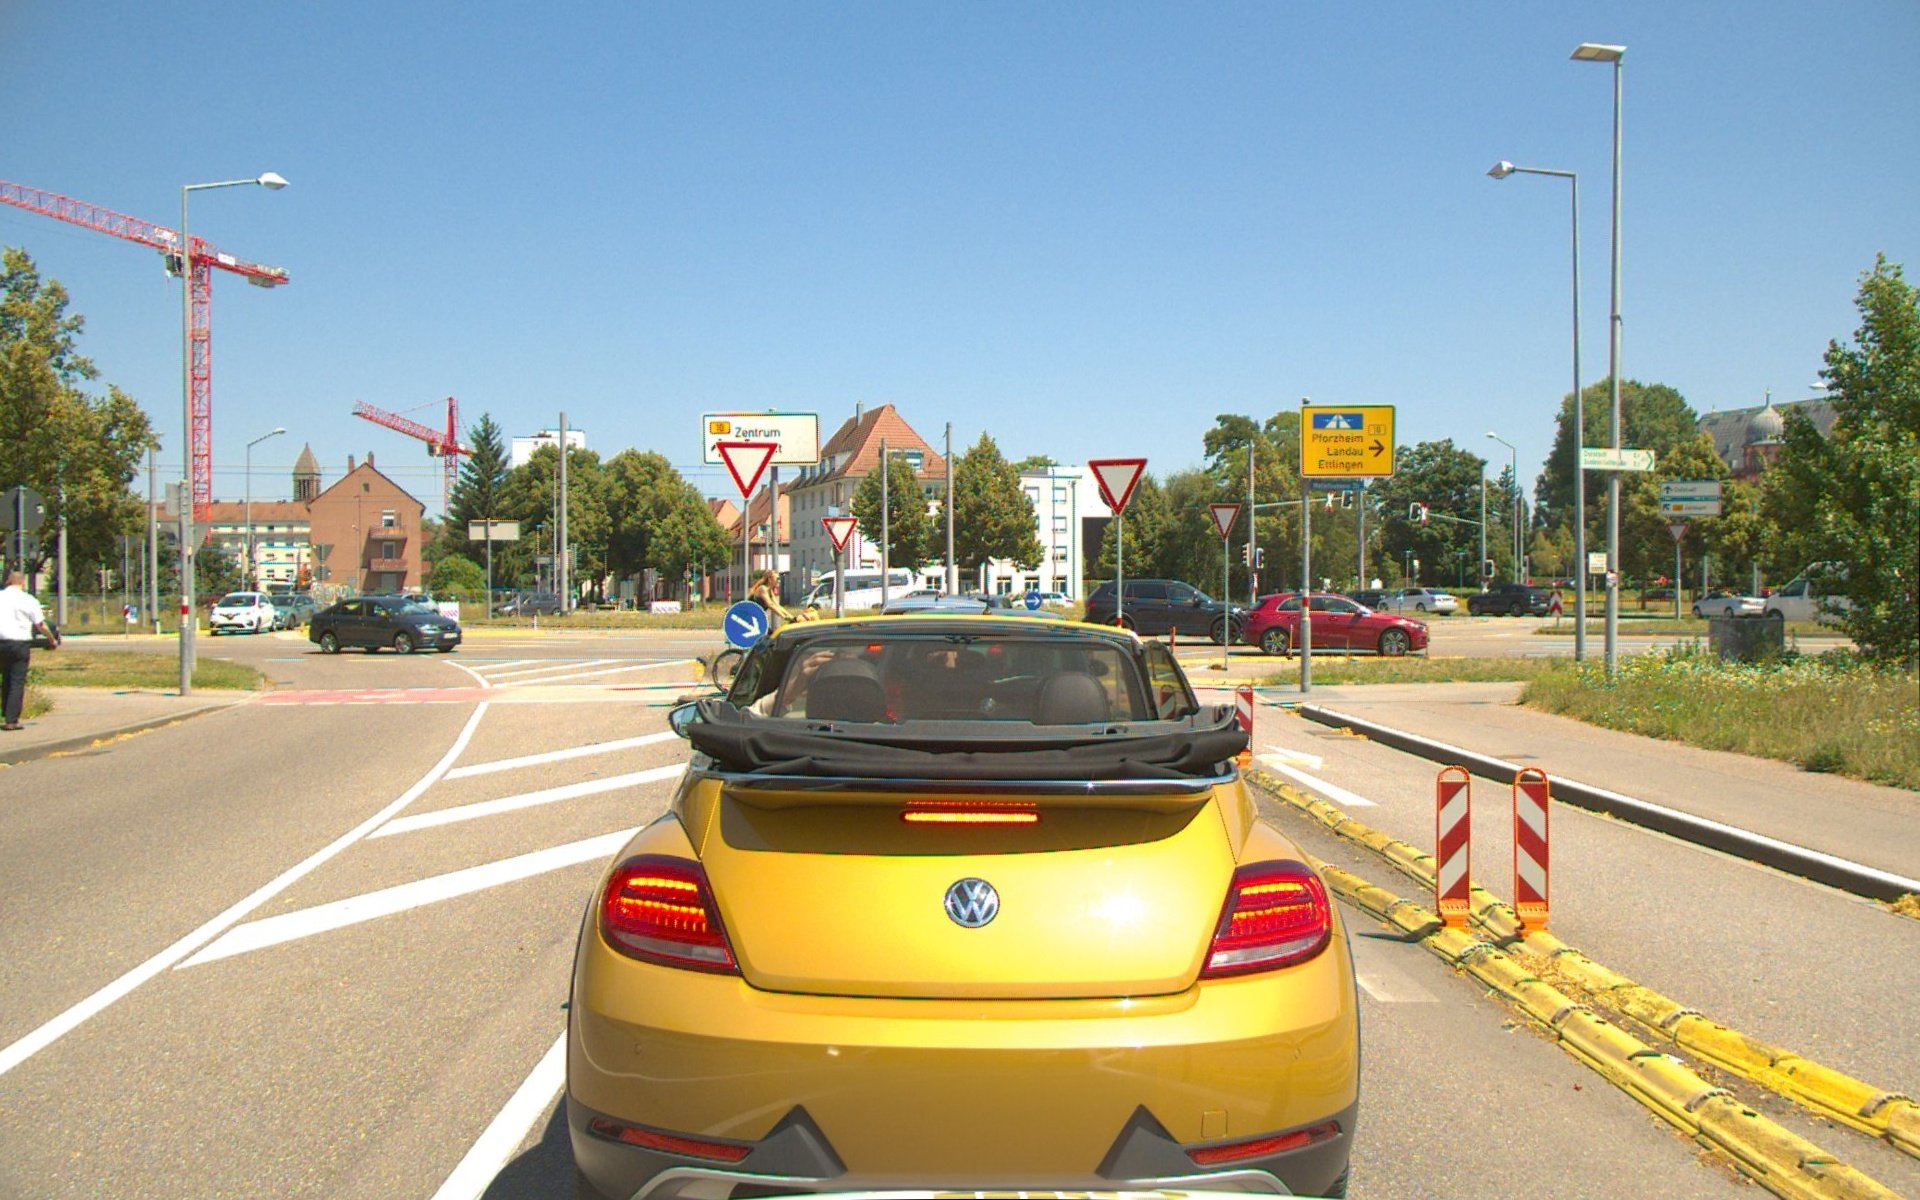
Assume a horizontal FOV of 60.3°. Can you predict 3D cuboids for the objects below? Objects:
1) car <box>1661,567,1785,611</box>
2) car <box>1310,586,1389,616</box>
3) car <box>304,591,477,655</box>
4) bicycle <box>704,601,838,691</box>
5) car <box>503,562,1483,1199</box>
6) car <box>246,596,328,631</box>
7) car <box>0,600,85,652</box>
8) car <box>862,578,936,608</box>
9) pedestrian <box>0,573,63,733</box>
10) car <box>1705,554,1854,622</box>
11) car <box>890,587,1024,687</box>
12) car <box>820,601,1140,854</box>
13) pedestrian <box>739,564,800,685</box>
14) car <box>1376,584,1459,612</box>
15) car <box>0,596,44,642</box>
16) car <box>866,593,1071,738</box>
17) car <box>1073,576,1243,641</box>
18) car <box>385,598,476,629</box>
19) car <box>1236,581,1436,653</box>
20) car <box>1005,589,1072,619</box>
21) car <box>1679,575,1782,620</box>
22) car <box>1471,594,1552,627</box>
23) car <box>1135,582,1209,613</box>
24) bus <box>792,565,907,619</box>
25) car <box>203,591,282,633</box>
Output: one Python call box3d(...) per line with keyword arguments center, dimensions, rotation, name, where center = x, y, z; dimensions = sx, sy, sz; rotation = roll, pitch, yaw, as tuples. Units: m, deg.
box3d(center=(35.595, -0.501, 77.307), dimensions=(1.962, 1.996, 5.287), rotation=(1, 0, -24), name="car")
box3d(center=(23.533, 0.050, 100.056), dimensions=(1.835, 1.766, 4.372), rotation=(1, 0, -44), name="car")
box3d(center=(-14.997, 0.583, 43.534), dimensions=(4.241, 1.579, 1.728), rotation=(0, 1, 23), name="car")
box3d(center=(-2.729, 0.665, 23.959), dimensions=(1.803, 1.253, 0.614), rotation=(-2, -1, 10), name="bicycle")
box3d(center=(0.032, 0.709, 5.070), dimensions=(1.729, 1.507, 4.257), rotation=(1, 0, -1), name="car")
box3d(center=(-27.843, 0.548, 68.543), dimensions=(1.711, 1.395, 4.329), rotation=(1, 0, -2), name="car")
box3d(center=(-29.927, 0.790, 52.159), dimensions=(3.902, 1.579, 1.729), rotation=(1, 0, 13), name="car")
box3d(center=(-3.685, -0.409, 100.727), dimensions=(4.338, 1.766, 1.849), rotation=(1, 0, 1), name="car")
box3d(center=(-11.082, 0.605, 19.351), dimensions=(0.623, 1.817, 0.969), rotation=(1, -1, -2), name="pedestrian")
box3d(center=(30.867, -0.429, 62.500), dimensions=(1.956, 2.439, 5.302), rotation=(1, 0, -17), name="car")
box3d(center=(-0.077, 0.551, 27.596), dimensions=(2.023, 1.506, 4.542), rotation=(-1, 0, -1), name="car")
box3d(center=(0.085, 0.729, 11.595), dimensions=(1.814, 1.389, 4.257), rotation=(-1, 0, -1), name="car")
box3d(center=(-2.760, 0.351, 23.980), dimensions=(0.717, 1.721, 0.575), rotation=(1, -1, 9), name="pedestrian")
box3d(center=(23.765, -0.083, 86.118), dimensions=(1.726, 1.395, 4.291), rotation=(1, 0, -28), name="car")
box3d(center=(-34.258, 0.635, 57.693), dimensions=(3.902, 1.579, 1.729), rotation=(1, 0, 14), name="car")
box3d(center=(0.054, 0.660, 18.605), dimensions=(2.023, 1.406, 4.257), rotation=(1, 0, -1), name="car")
box3d(center=(5.161, 0.217, 43.389), dimensions=(4.312, 1.623, 2.001), rotation=(-1, 0, 5), name="car")
box3d(center=(-25.437, 0.636, 79.656), dimensions=(1.693, 1.427, 4.267), rotation=(1, 0, 26), name="car")
box3d(center=(8.671, 0.385, 38.502), dimensions=(4.311, 1.554, 2.001), rotation=(1, 0, 6), name="car")
box3d(center=(4.964, 0.274, 104.241), dimensions=(3.902, 1.803, 1.788), rotation=(1, 0, 13), name="car")
box3d(center=(36.165, -0.109, 77.767), dimensions=(1.949, 1.996, 5.321), rotation=(1, 0, -6), name="car")
box3d(center=(29.065, 0.540, 87.288), dimensions=(1.848, 1.642, 4.306), rotation=(1, 0, -20), name="car")
box3d(center=(12.590, -0.143, 98.269), dimensions=(1.829, 1.766, 4.385), rotation=(1, 0, -37), name="car")
box3d(center=(-6.956, -0.487, 104.218), dimensions=(7.113, 3.228, 2.258), rotation=(1, 0, -6), name="bus")
box3d(center=(-27.193, 0.432, 62.800), dimensions=(1.742, 1.554, 3.866), rotation=(-1, 0, -7), name="car")
